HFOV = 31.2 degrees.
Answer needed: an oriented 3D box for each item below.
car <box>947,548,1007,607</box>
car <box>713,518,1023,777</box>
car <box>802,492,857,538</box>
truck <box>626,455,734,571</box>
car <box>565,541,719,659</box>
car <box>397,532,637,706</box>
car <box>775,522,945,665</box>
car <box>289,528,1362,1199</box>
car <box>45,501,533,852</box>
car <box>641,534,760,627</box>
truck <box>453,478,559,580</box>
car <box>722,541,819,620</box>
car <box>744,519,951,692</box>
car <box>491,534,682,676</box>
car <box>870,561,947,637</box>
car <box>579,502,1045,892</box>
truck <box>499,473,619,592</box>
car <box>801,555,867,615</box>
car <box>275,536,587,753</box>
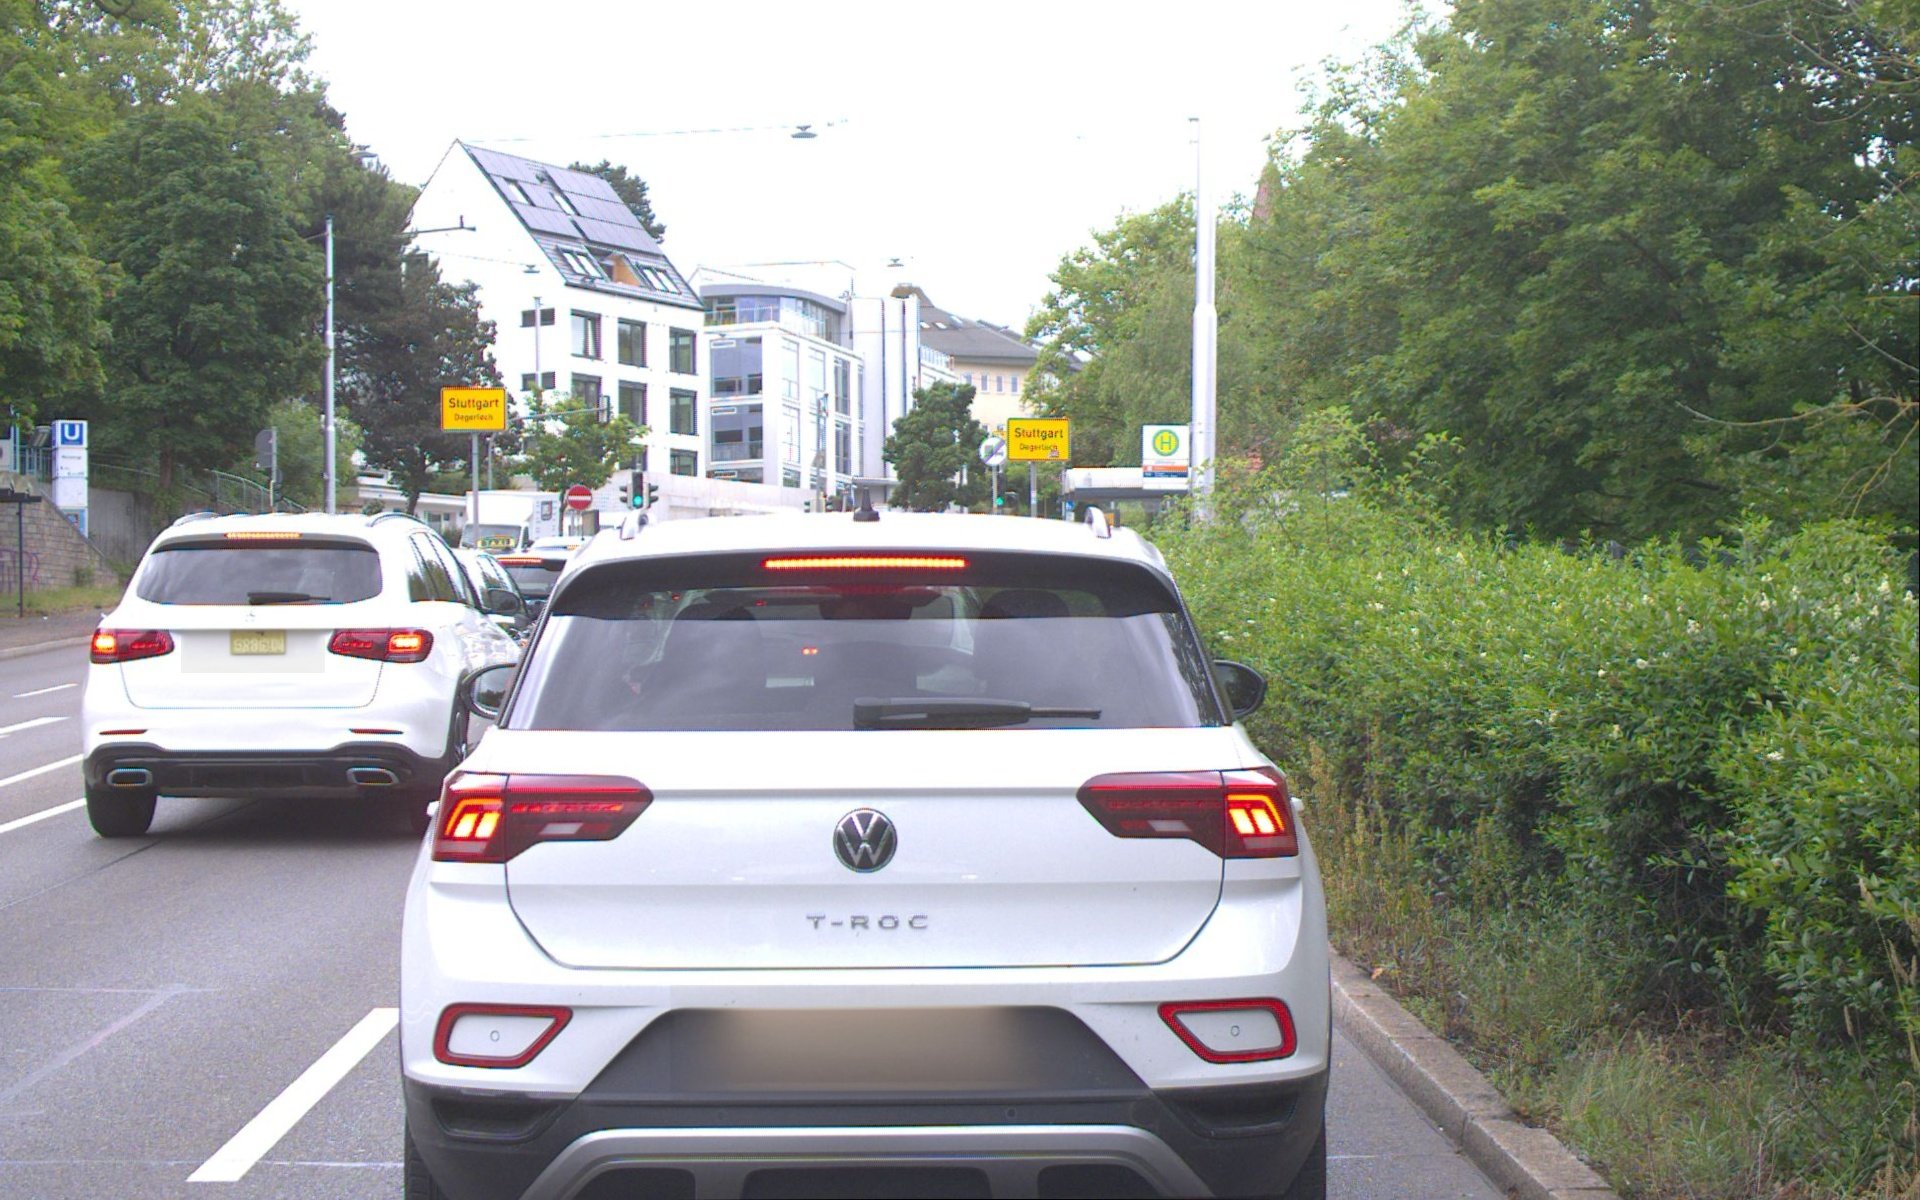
[{"bbox_3d":[0.581,-0.826,122.014,1.993,2.007,4.000,-1,1,-1],"label":"car"},{"bbox_3d":[-0.603,0.250,22.633,1.829,1.520,4.000,-1,1,-1],"label":"car"},{"bbox_3d":[-4.448,-2.900,117.542,1.829,1.520,4.000,-1,1,-1],"label":"car"},{"bbox_3d":[-6.988,-2.168,86.124,2.362,2.772,4.478,-2,1,-1],"label":"truck"},{"bbox_3d":[-4.339,-0.033,47.412,1.829,1.520,4.000,-1,1,-1],"label":"car"},{"bbox_3d":[-4.129,0.134,32.609,1.829,1.520,4.000,-1,1,-1],"label":"car"},{"bbox_3d":[-1.138,-0.107,39.560,1.829,1.520,4.000,-1,1,-1],"label":"car"},{"bbox_3d":[-0.276,0.607,7.894,1.829,1.520,4.000,0,1,-1],"label":"car"},{"bbox_3d":[-3.456,0.331,18.436,1.918,1.664,4.000,0,1,-1],"label":"car"},{"bbox_3d":[-4.450,-0.363,59.469,1.829,1.520,4.000,-1,1,-1],"label":"car"},{"bbox_3d":[-14.159,-2.199,107.626,2.293,3.040,6.979,-1,1,0],"label":"truck"},{"bbox_3d":[-3.853,-0.421,70.453,1.829,1.520,4.000,-1,1,-1],"label":"car"},{"bbox_3d":[-1.060,0.012,32.822,1.829,1.520,4.000,-1,1,-1],"label":"car"},{"bbox_3d":[-4.256,0.017,39.689,1.829,1.520,4.000,-1,1,-1],"label":"car"},{"bbox_3d":[-1.375,-0.017,94.055,1.993,2.007,4.000,-1,0,0],"label":"car"},{"bbox_3d":[-0.640,0.351,15.709,1.829,1.520,4.000,-1,1,-1],"label":"car"},{"bbox_3d":[-9.504,-1.609,81.779,2.362,2.697,4.478,-2,1,-1],"label":"truck"},{"bbox_3d":[-3.669,-0.461,100.629,1.815,1.651,3.929,-2,1,-1],"label":"car"},{"bbox_3d":[-3.938,0.276,26.204,1.829,1.492,4.000,-1,1,-1],"label":"car"}]
